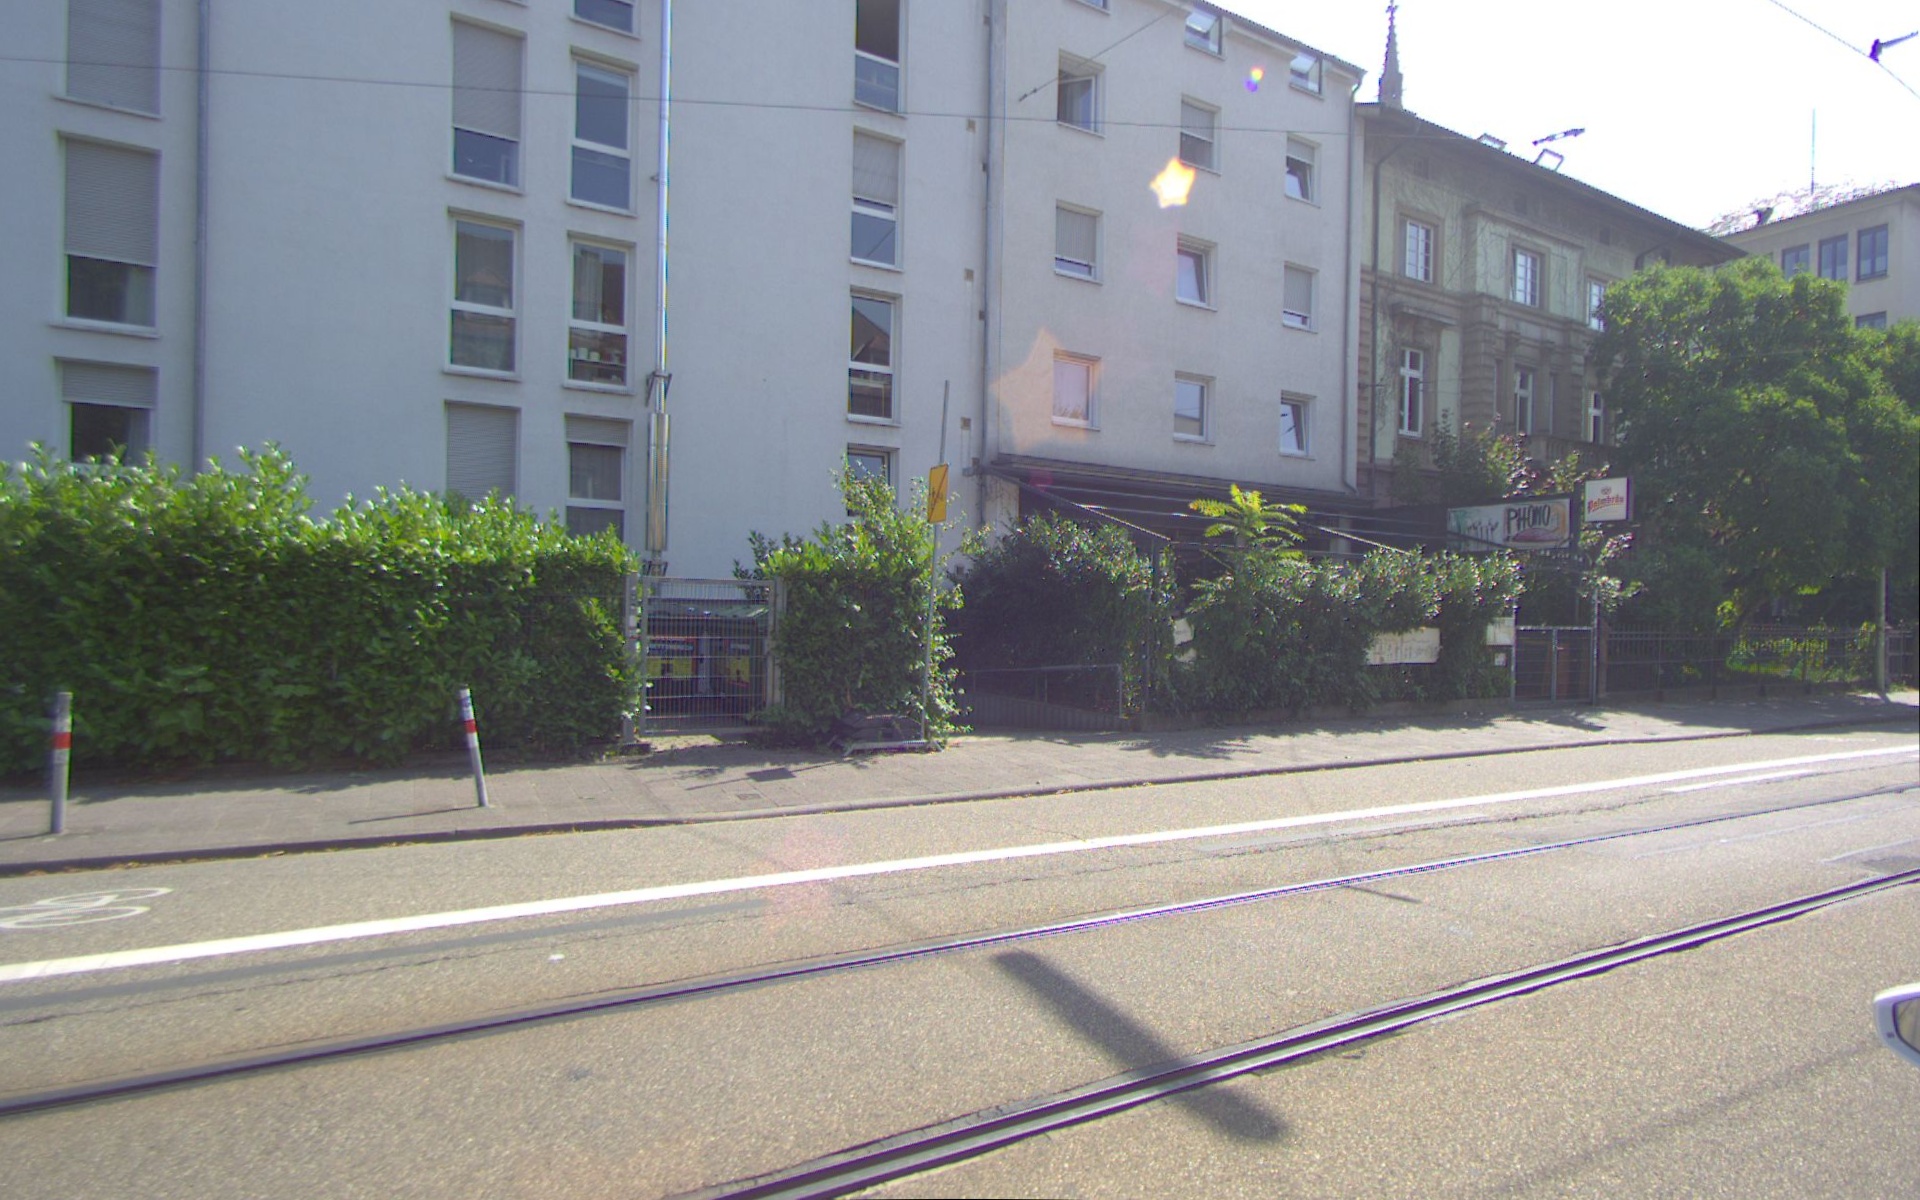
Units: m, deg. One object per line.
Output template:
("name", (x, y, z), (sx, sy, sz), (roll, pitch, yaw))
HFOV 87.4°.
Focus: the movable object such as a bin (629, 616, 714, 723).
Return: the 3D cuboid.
("movable object such as a bin", (-3.852, 0.910, 13.438), (1.023, 1.377, 0.385), (1, 0, -31))
